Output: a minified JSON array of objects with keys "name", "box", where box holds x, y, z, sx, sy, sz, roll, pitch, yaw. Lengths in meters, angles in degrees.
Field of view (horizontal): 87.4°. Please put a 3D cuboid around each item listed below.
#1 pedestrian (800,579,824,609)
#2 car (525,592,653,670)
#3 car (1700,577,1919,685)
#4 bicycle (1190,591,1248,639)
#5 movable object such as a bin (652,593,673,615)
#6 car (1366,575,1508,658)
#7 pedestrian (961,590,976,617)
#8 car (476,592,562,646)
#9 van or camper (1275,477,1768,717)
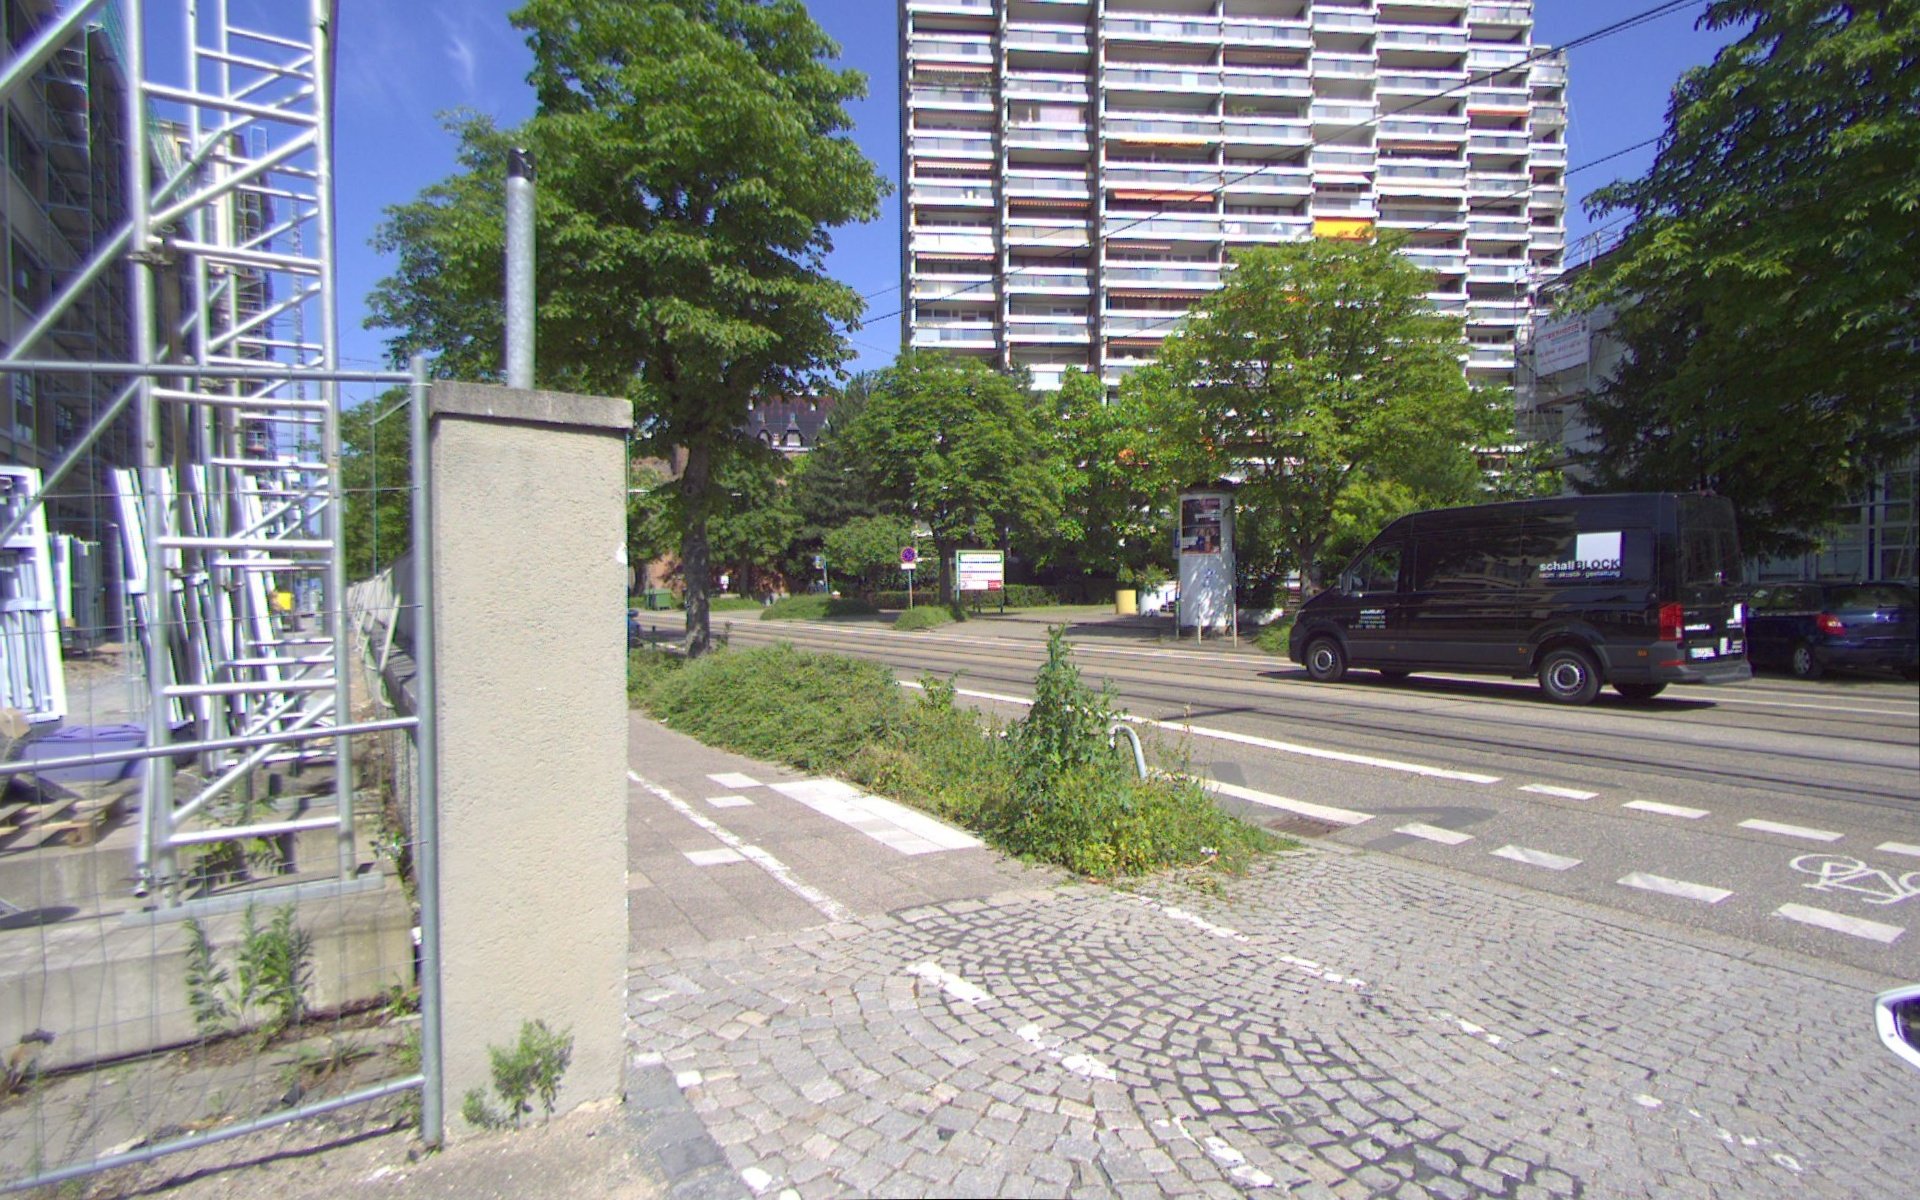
[{"name":"pedestrian","box":[-9.026,-0.379,61.305,1.048,1.822,1.253,1,1,-32]},{"name":"car","box":[-8.121,0.593,21.786,1.801,1.514,4.071,-1,1,-32]},{"name":"car","box":[13.723,0.419,16.238,1.544,1.551,3.460,0,1,12]},{"name":"bicycle","box":[7.421,0.412,28.841,0.542,1.326,1.604,-1,1,-37]},{"name":"movable object such as a bin","box":[-20.960,0.275,70.857,1.249,1.473,1.072,0,1,-27]},{"name":"car","box":[10.138,0.291,21.658,1.783,1.628,3.947,0,1,10]},{"name":"pedestrian","box":[0.387,0.156,44.662,0.525,1.170,0.700,0,1,-10]},{"name":"car","box":[-13.231,0.515,30.046,1.801,1.473,3.965,-1,1,-32]},{"name":"van or camper","box":[7.420,-0.071,14.128,2.028,2.655,5.810,-1,1,-32]}]
